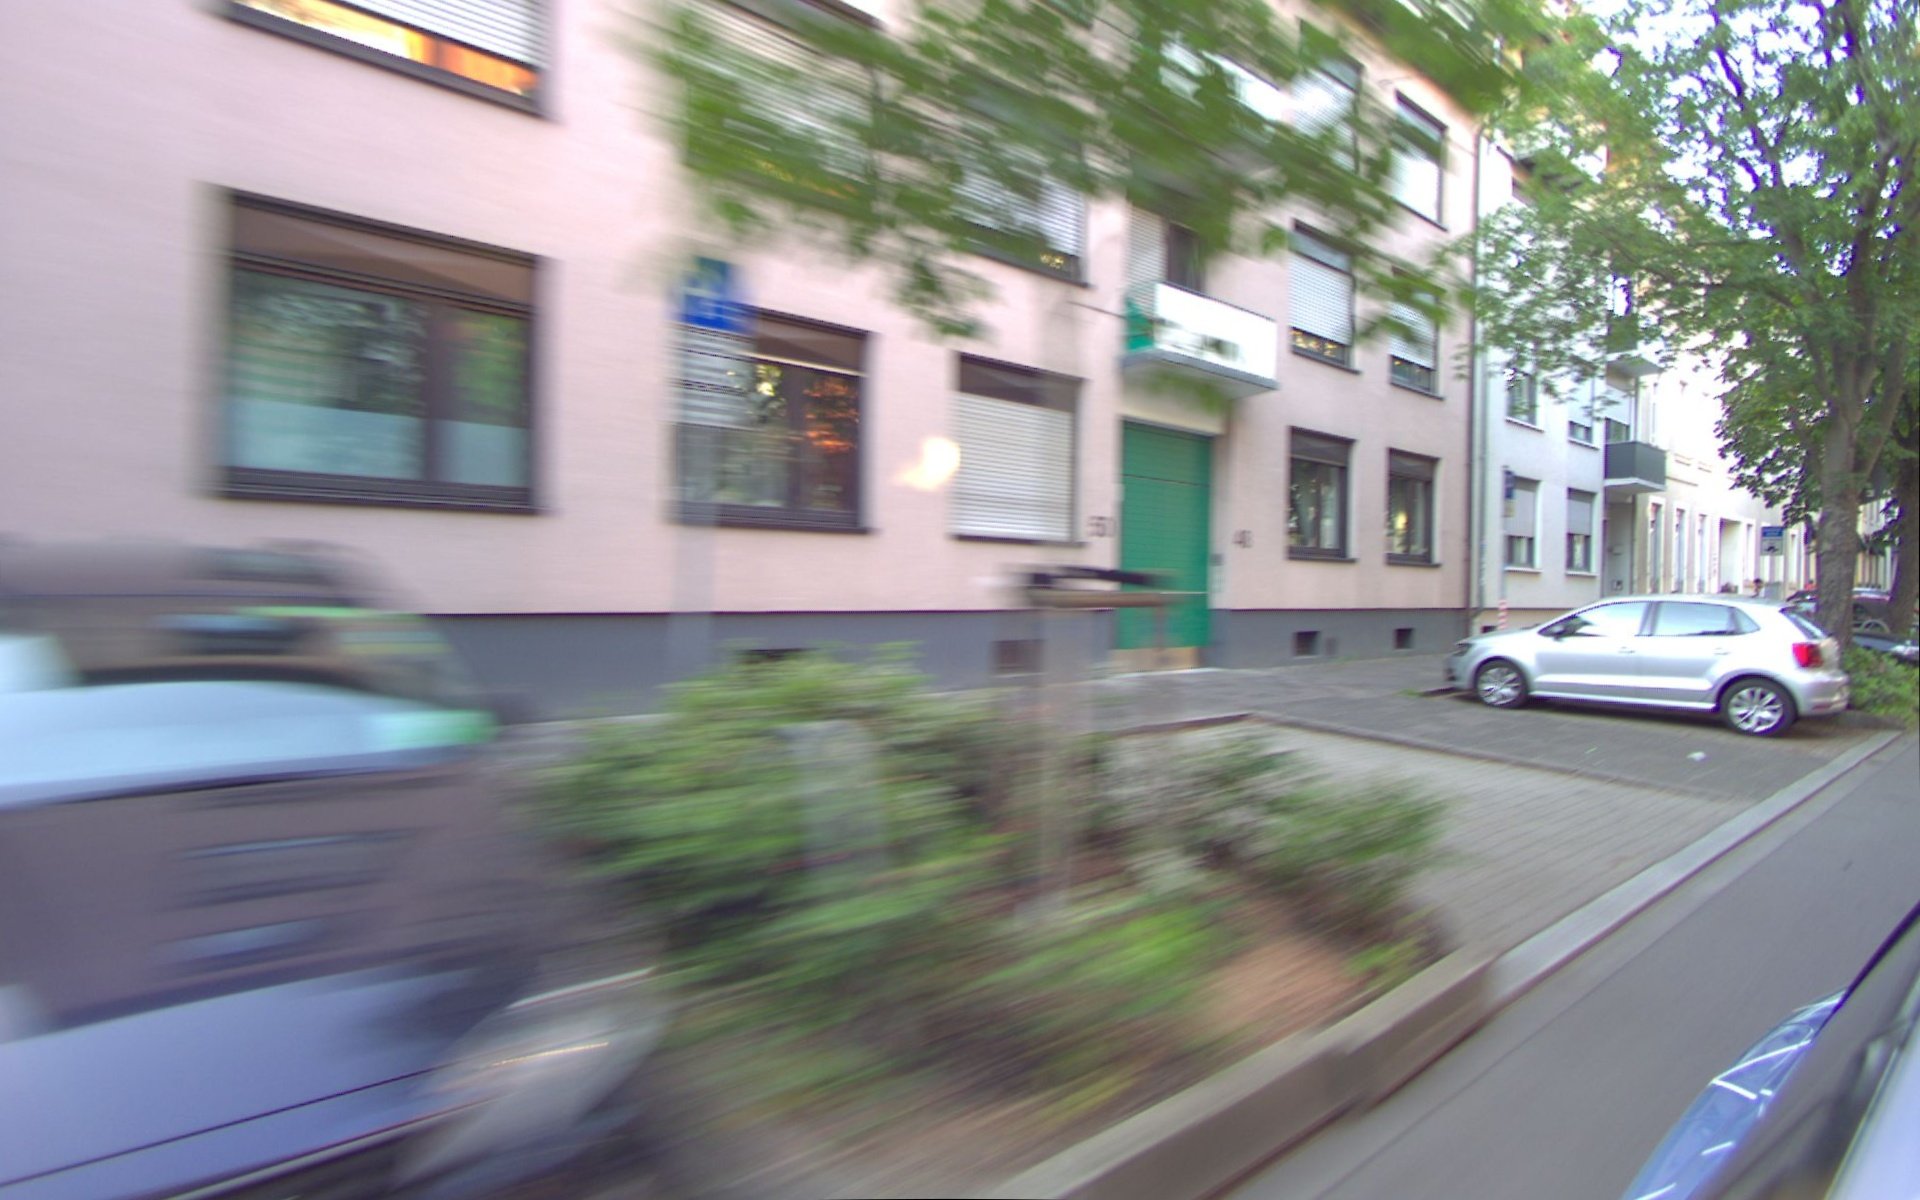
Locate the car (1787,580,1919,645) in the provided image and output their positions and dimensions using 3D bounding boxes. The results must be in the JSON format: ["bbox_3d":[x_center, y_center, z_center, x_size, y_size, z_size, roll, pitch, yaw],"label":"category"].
[{"bbox_3d":[25.952,0.347,28.030,1.865,1.676,4.437,1,1,-39],"label":"car"}]

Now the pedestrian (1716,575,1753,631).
[{"bbox_3d":[22.234,0.074,29.047,0.816,1.555,0.656,1,1,-40],"label":"pedestrian"}]

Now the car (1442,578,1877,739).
[{"bbox_3d":[8.019,0.544,11.847,1.817,1.457,3.881,1,2,-43],"label":"car"}]

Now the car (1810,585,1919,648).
[{"bbox_3d":[23.935,0.435,25.605,1.867,1.470,3.489,1,2,-42],"label":"car"}]

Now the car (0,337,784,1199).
[{"bbox_3d":[-2.566,0.508,3.194,1.914,1.732,4.729,1,0,-39],"label":"car"}]

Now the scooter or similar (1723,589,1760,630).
[{"bbox_3d":[22.825,0.265,29.559,0.816,1.167,0.656,1,1,-40],"label":"scooter or similar"}]

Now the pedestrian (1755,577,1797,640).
[{"bbox_3d":[23.431,0.225,29.073,0.682,1.759,0.670,2,1,18],"label":"pedestrian"}]

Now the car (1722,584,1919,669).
[{"bbox_3d":[17.558,0.487,20.177,1.867,1.470,3.489,1,2,-42],"label":"car"}]

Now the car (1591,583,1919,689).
[{"bbox_3d":[13.695,0.519,17.120,1.999,1.439,4.722,1,2,-40],"label":"car"}]
